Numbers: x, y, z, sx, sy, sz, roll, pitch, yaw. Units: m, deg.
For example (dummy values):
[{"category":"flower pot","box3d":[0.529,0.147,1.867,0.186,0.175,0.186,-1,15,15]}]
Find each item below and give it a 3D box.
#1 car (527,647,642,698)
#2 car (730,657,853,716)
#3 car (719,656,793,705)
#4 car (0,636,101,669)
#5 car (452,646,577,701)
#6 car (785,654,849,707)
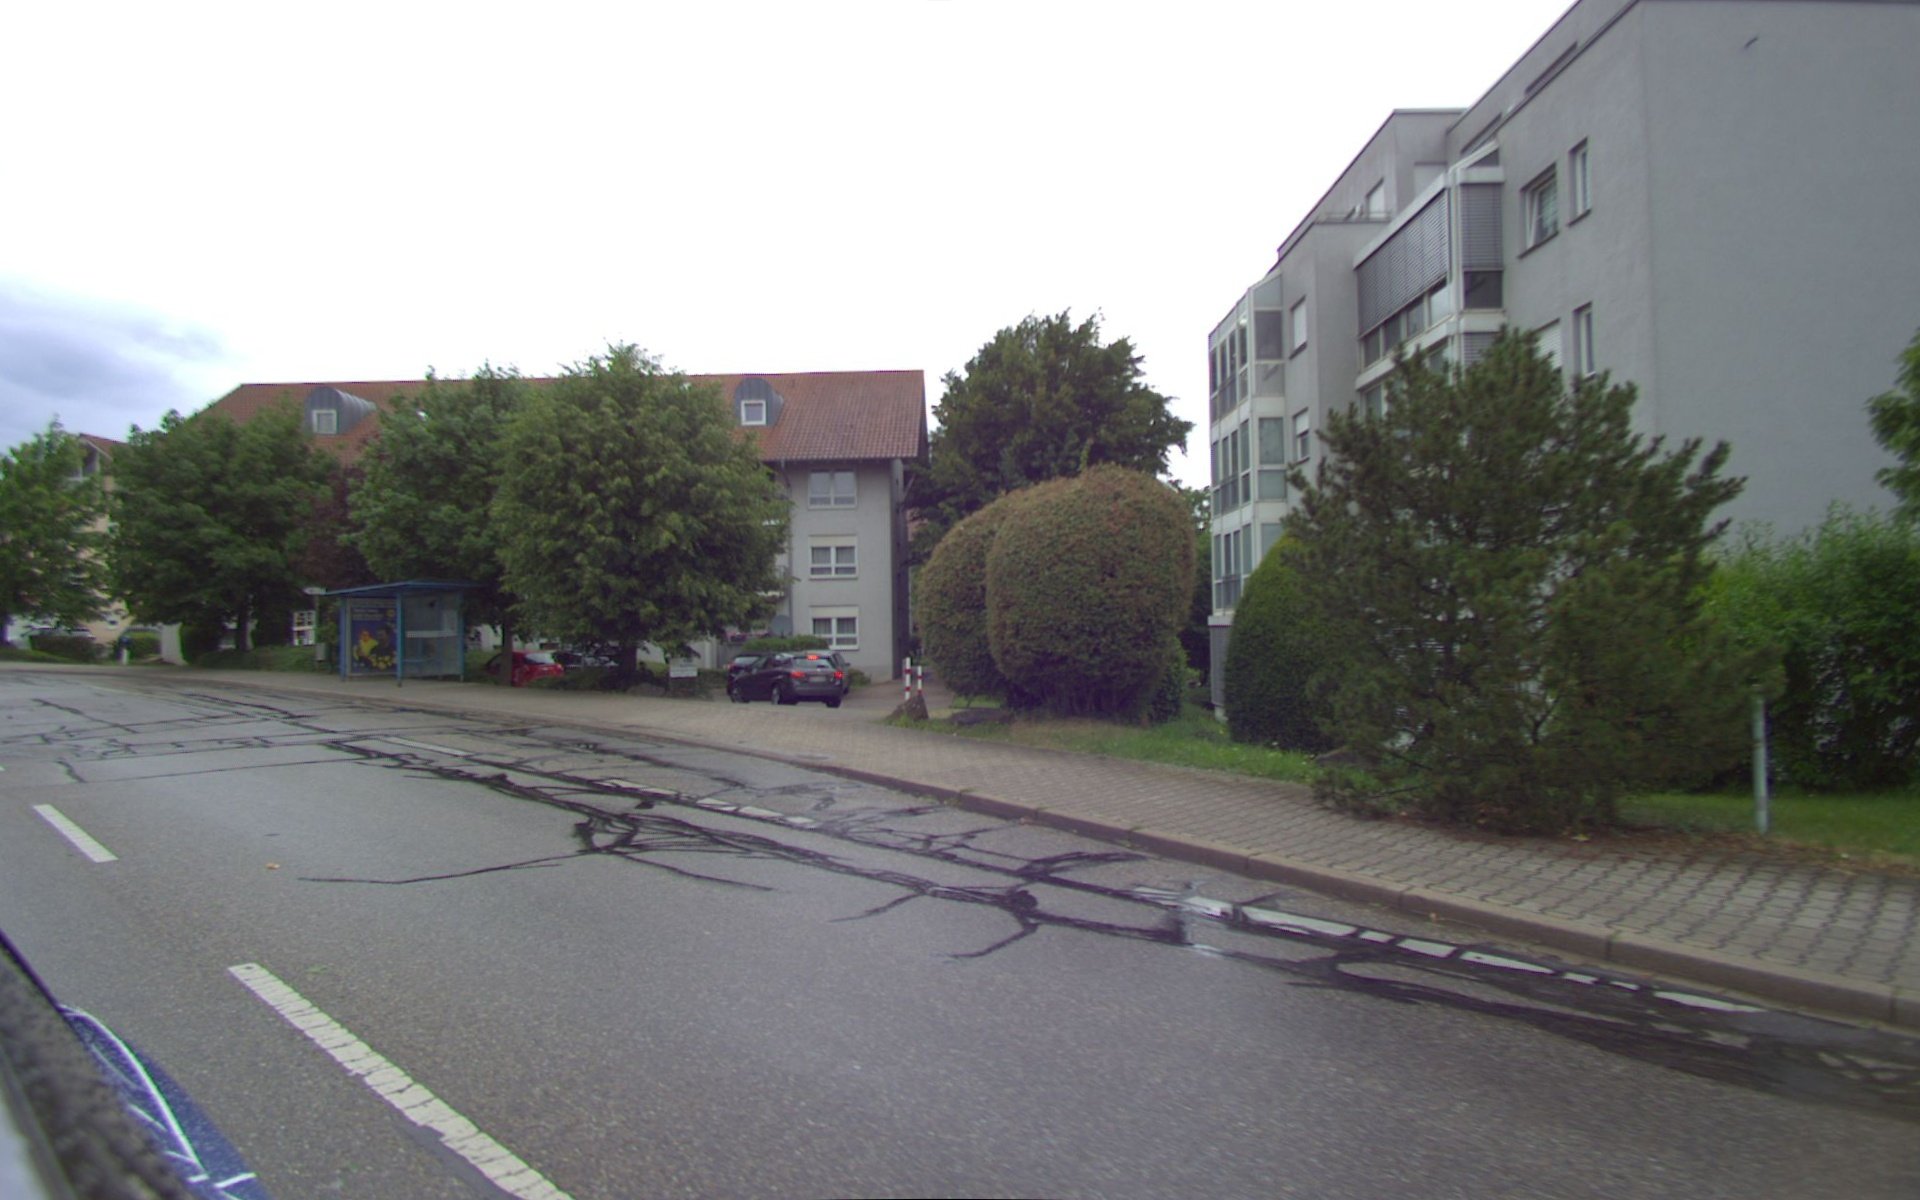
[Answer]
[{"category":"car","box3d":[-12.320,2.323,33.110,3.991,1.475,1.596,-1,-1,36]},{"category":"car","box3d":[-4.566,2.333,26.929,1.965,1.432,4.179,2,-6,-28]},{"category":"car","box3d":[-6.803,2.657,34.017,1.648,1.405,3.428,-1,-1,3]},{"category":"car","box3d":[-45.520,2.586,50.445,3.944,1.614,1.738,0,-2,0]},{"category":"car","box3d":[-13.765,2.215,31.218,3.991,1.475,1.753,-1,-1,36]},{"category":"car","box3d":[-4.548,2.551,32.614,1.646,1.443,3.717,-1,-1,-2]}]
